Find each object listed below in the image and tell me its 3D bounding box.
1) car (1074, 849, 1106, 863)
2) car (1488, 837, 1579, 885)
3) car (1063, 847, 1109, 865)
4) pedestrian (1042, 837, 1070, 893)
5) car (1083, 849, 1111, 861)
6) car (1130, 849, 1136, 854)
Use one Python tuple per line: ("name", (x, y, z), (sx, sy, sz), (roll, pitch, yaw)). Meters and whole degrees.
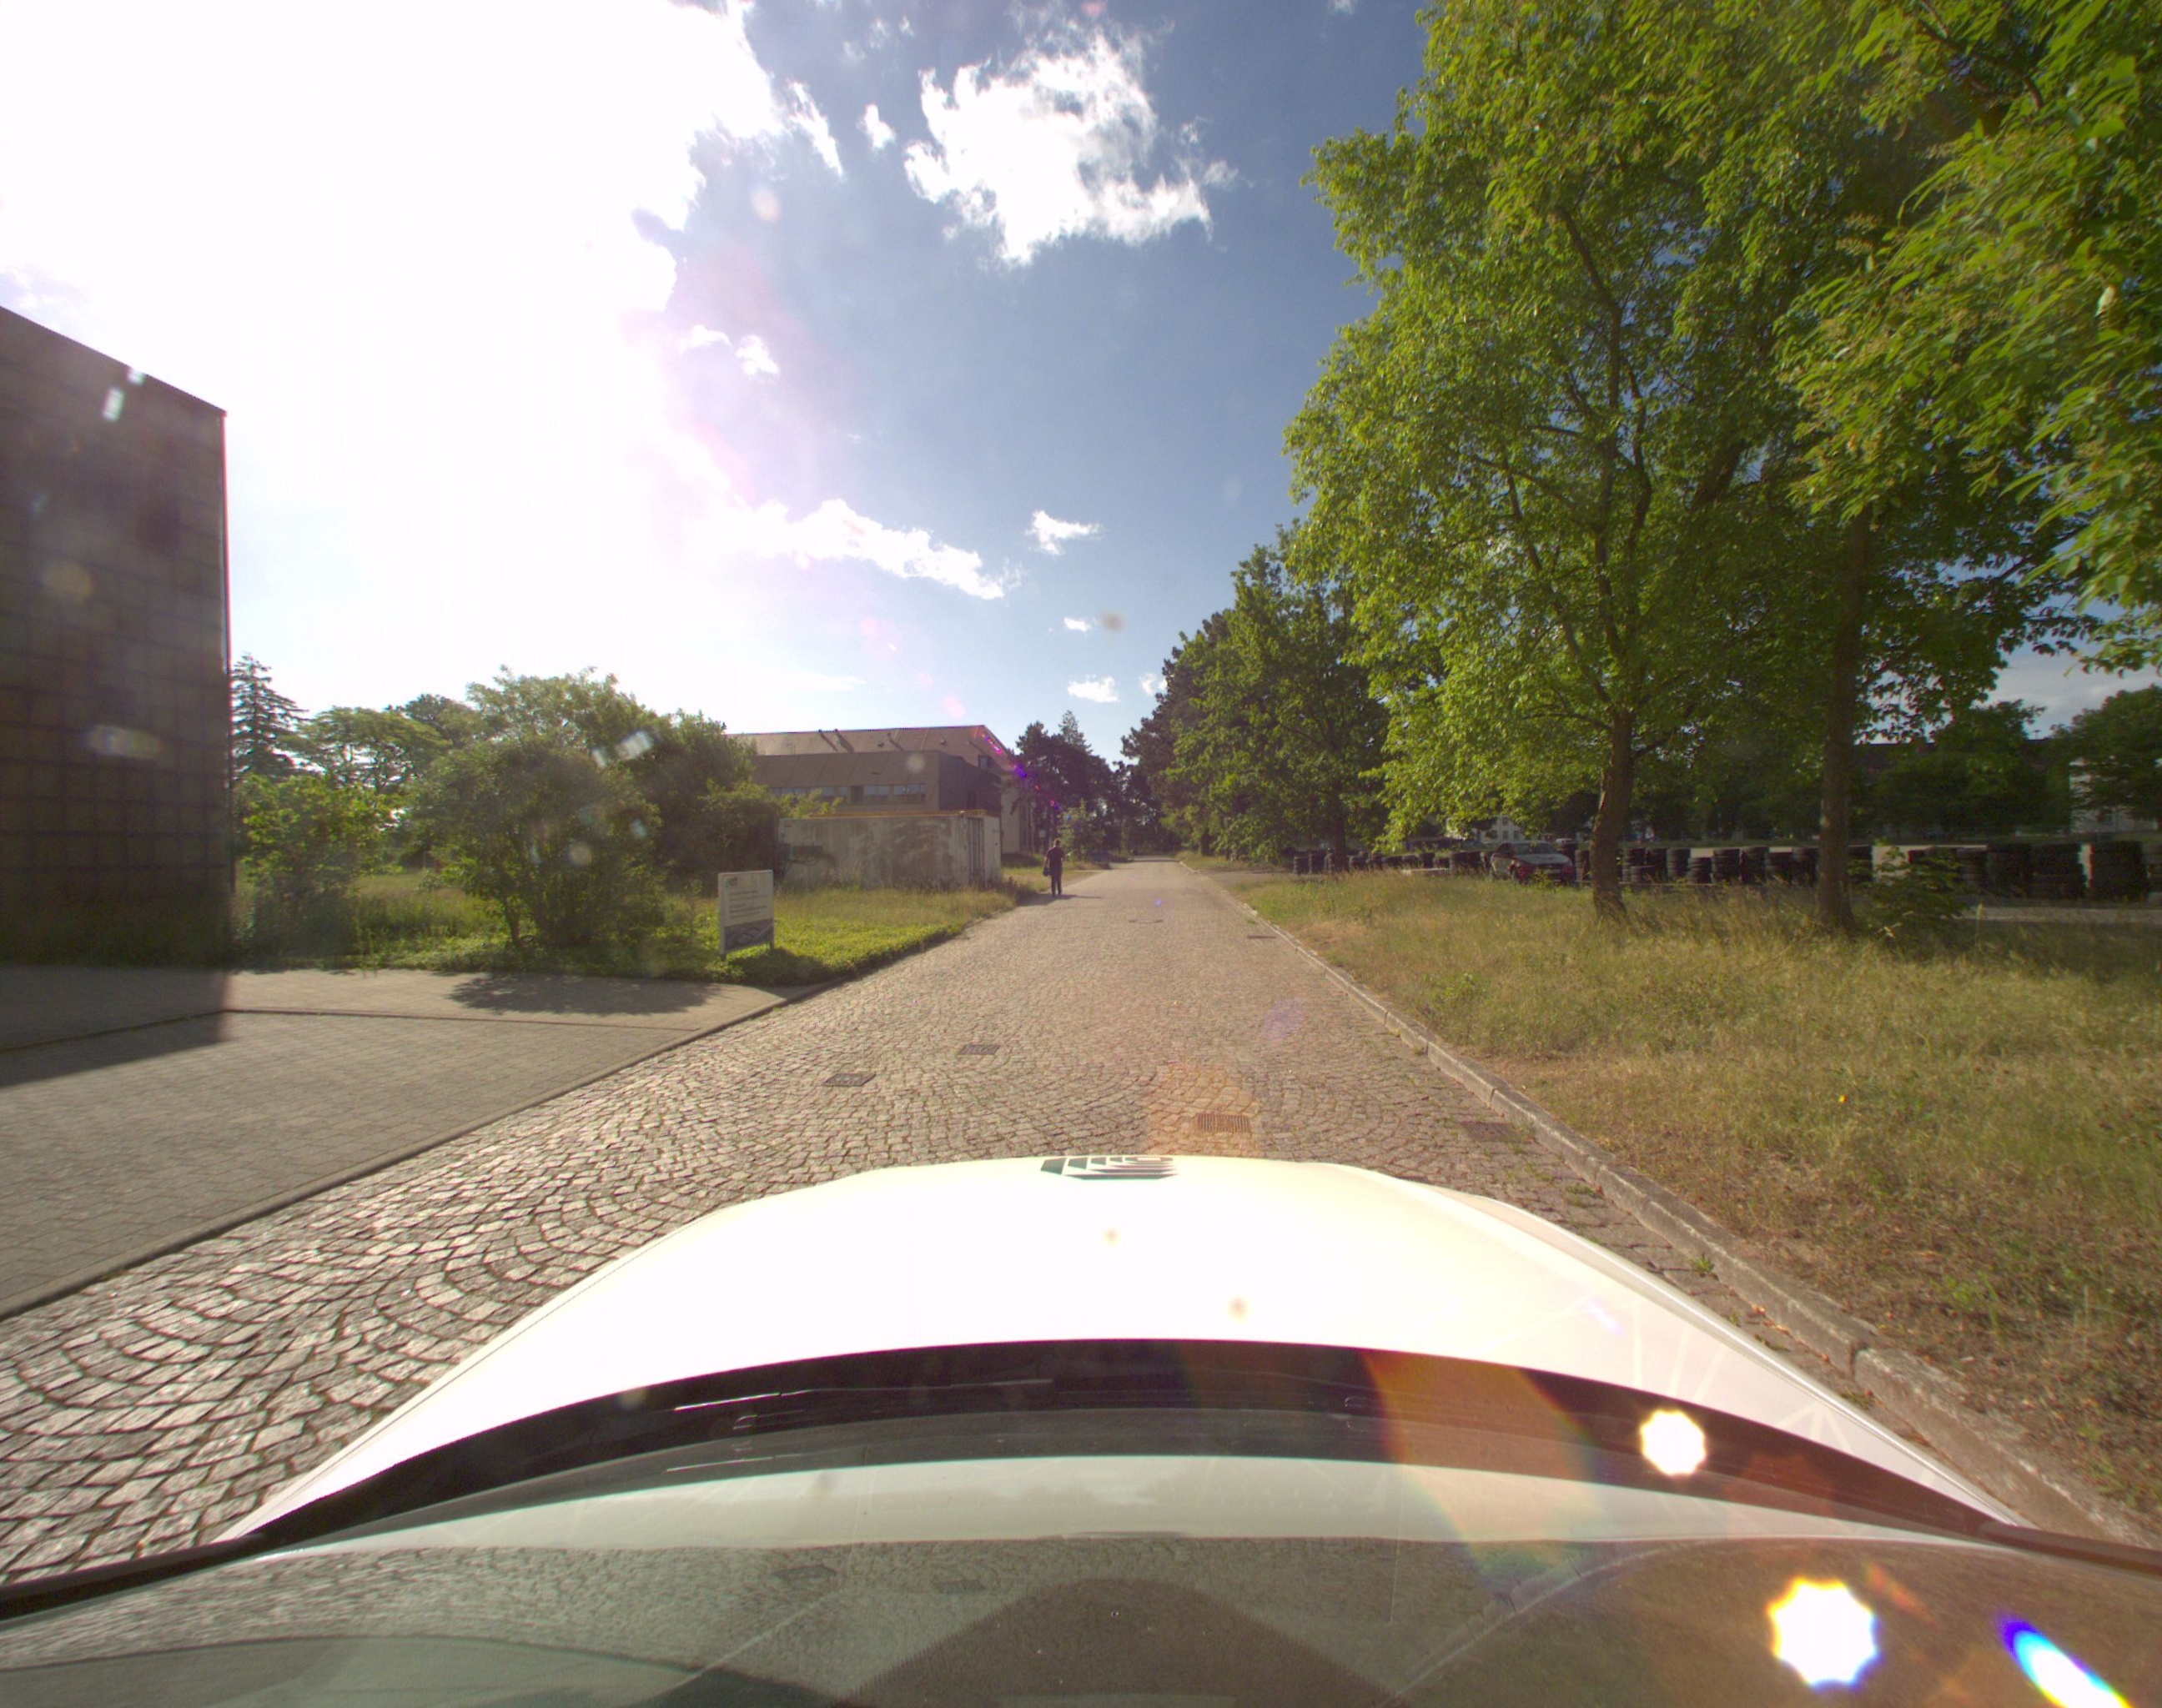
("car", (0.825, 0.195, 76.658), (2.896, 1.259, 1.286), (-1, 0, -4))
("car", (14.507, 0.202, 26.318), (1.531, 1.407, 3.589), (-1, 0, 11))
("car", (0.465, 0.182, 69.367), (3.817, 1.441, 1.584), (-1, 0, 2))
("pedestrian", (-0.788, 0.346, 26.252), (0.791, 1.780, 1.070), (0, 0, 4))
("car", (1.631, 0.129, 86.062), (2.848, 1.206, 1.372), (-1, 0, -4))
("car", (12.283, -0.676, 191.652), (1.364, 1.099, 2.865), (-1, 0, 3))
